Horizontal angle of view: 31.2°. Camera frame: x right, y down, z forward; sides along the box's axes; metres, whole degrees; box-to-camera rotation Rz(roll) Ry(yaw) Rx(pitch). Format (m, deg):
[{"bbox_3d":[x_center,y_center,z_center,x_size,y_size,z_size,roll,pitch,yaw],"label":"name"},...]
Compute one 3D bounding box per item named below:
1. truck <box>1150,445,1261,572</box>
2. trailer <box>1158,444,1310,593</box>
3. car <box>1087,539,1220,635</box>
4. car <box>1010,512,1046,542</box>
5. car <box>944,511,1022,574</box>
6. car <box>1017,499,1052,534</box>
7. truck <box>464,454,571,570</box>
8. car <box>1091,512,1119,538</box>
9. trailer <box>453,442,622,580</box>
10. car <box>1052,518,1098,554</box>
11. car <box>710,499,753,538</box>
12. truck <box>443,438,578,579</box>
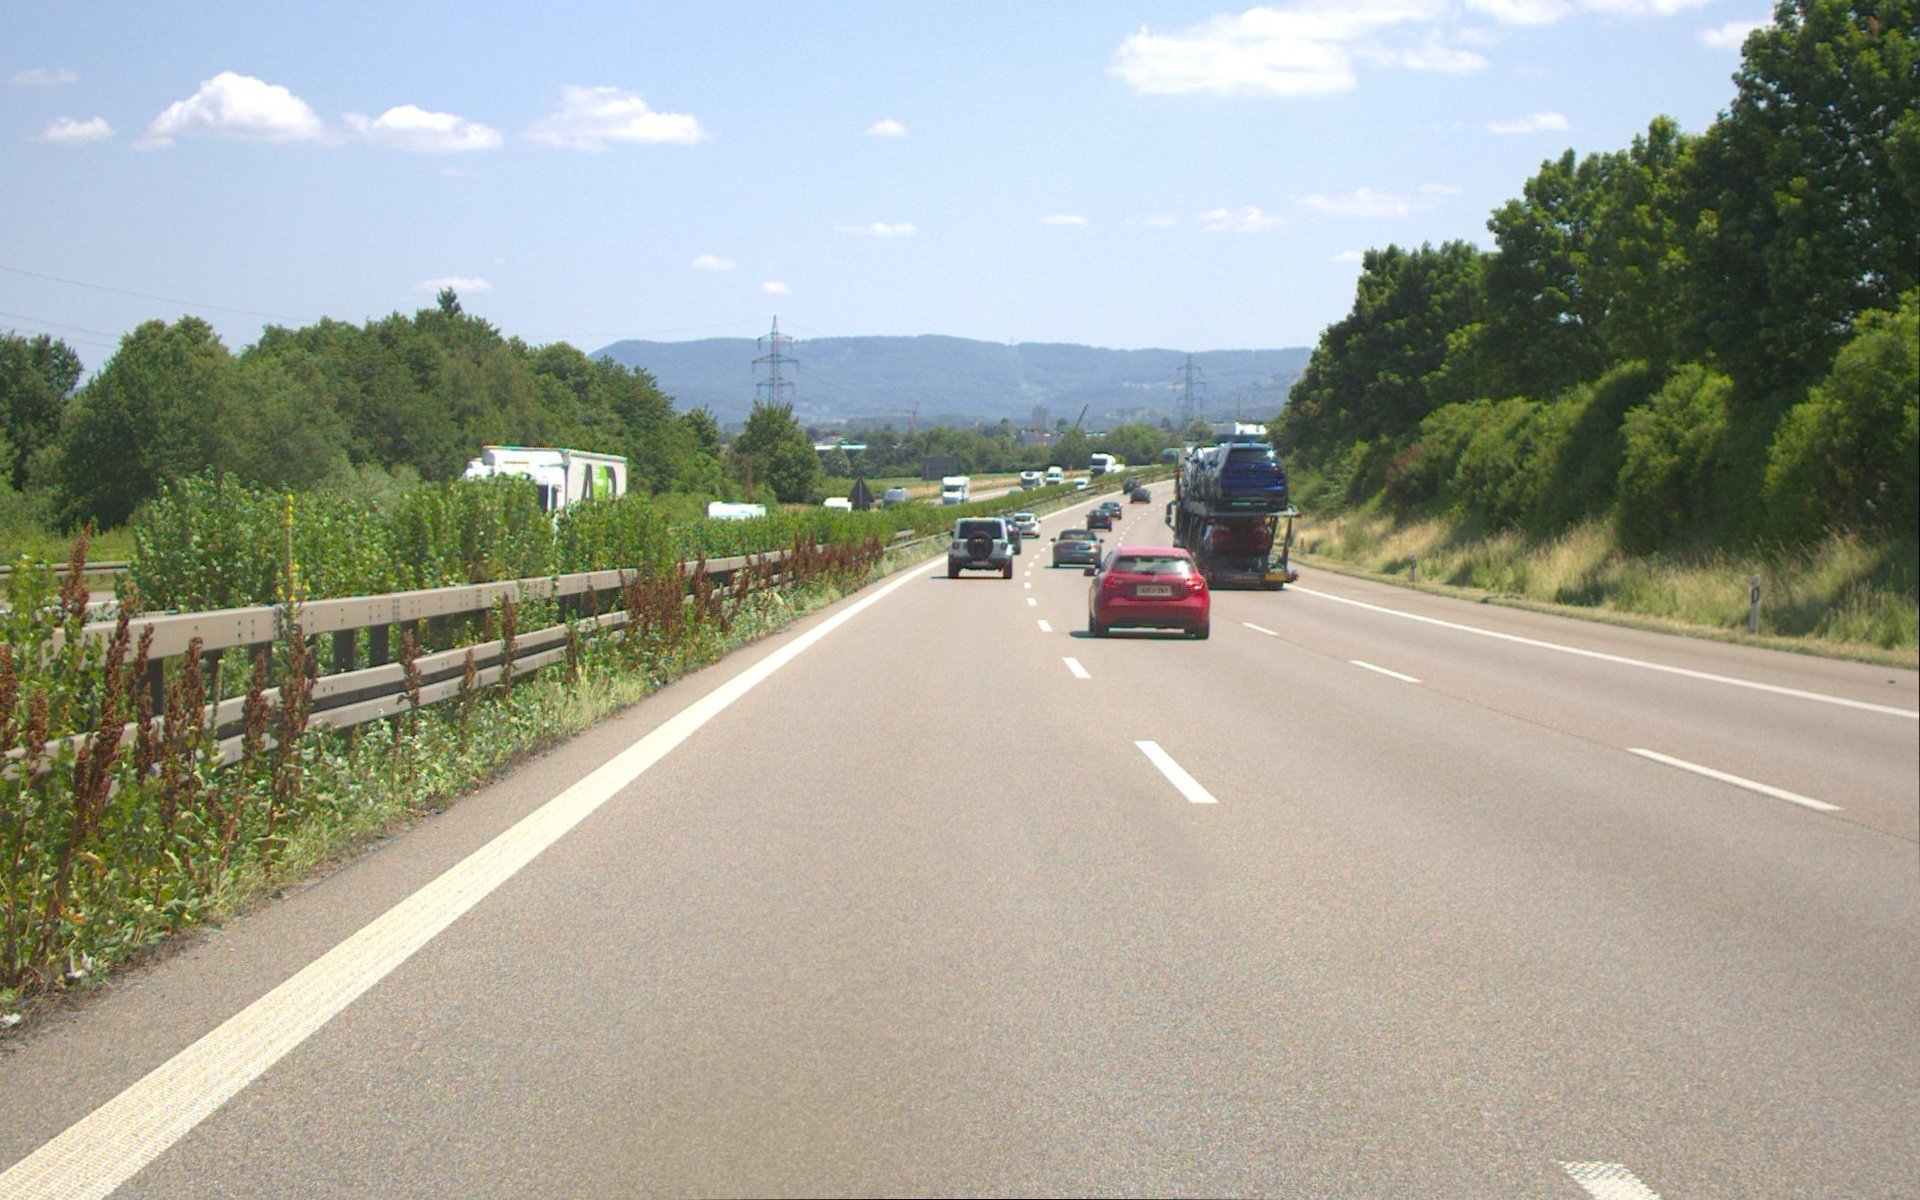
[{"bbox_3d":[7.635,-2.888,107.715,2.754,3.839,6.645,1,2,-2],"label":"truck"},{"bbox_3d":[7.798,-2.444,100.004,2.855,3.979,15.398,1,2,-1],"label":"trailer"},{"bbox_3d":[3.004,-0.233,53.996,1.686,1.374,3.949,1,2,-3],"label":"car"},{"bbox_3d":[3.039,-3.254,153.305,1.455,1.263,3.337,1,2,4],"label":"car"},{"bbox_3d":[0.669,-1.778,104.932,2.083,1.823,4.754,1,2,-3],"label":"car"},{"bbox_3d":[4.363,-4.881,200.335,1.698,2.006,3.822,1,2,6],"label":"car"},{"bbox_3d":[-16.113,-3.232,125.487,3.011,4.095,5.621,1,2,2],"label":"truck"},{"bbox_3d":[9.554,-4.937,226.083,1.636,1.699,3.400,1,2,6],"label":"car"},{"bbox_3d":[-13.251,-2.886,109.255,3.193,4.062,14.043,1,2,2],"label":"trailer"},{"bbox_3d":[4.196,-2.344,125.932,1.452,1.263,3.539,1,2,-1],"label":"car"},{"bbox_3d":[-10.847,-3.881,163.357,1.629,1.821,3.769,1,2,2],"label":"car"},{"bbox_3d":[-13.405,-2.753,102.904,3.176,4.095,5.226,1,2,2],"label":"truck"}]
